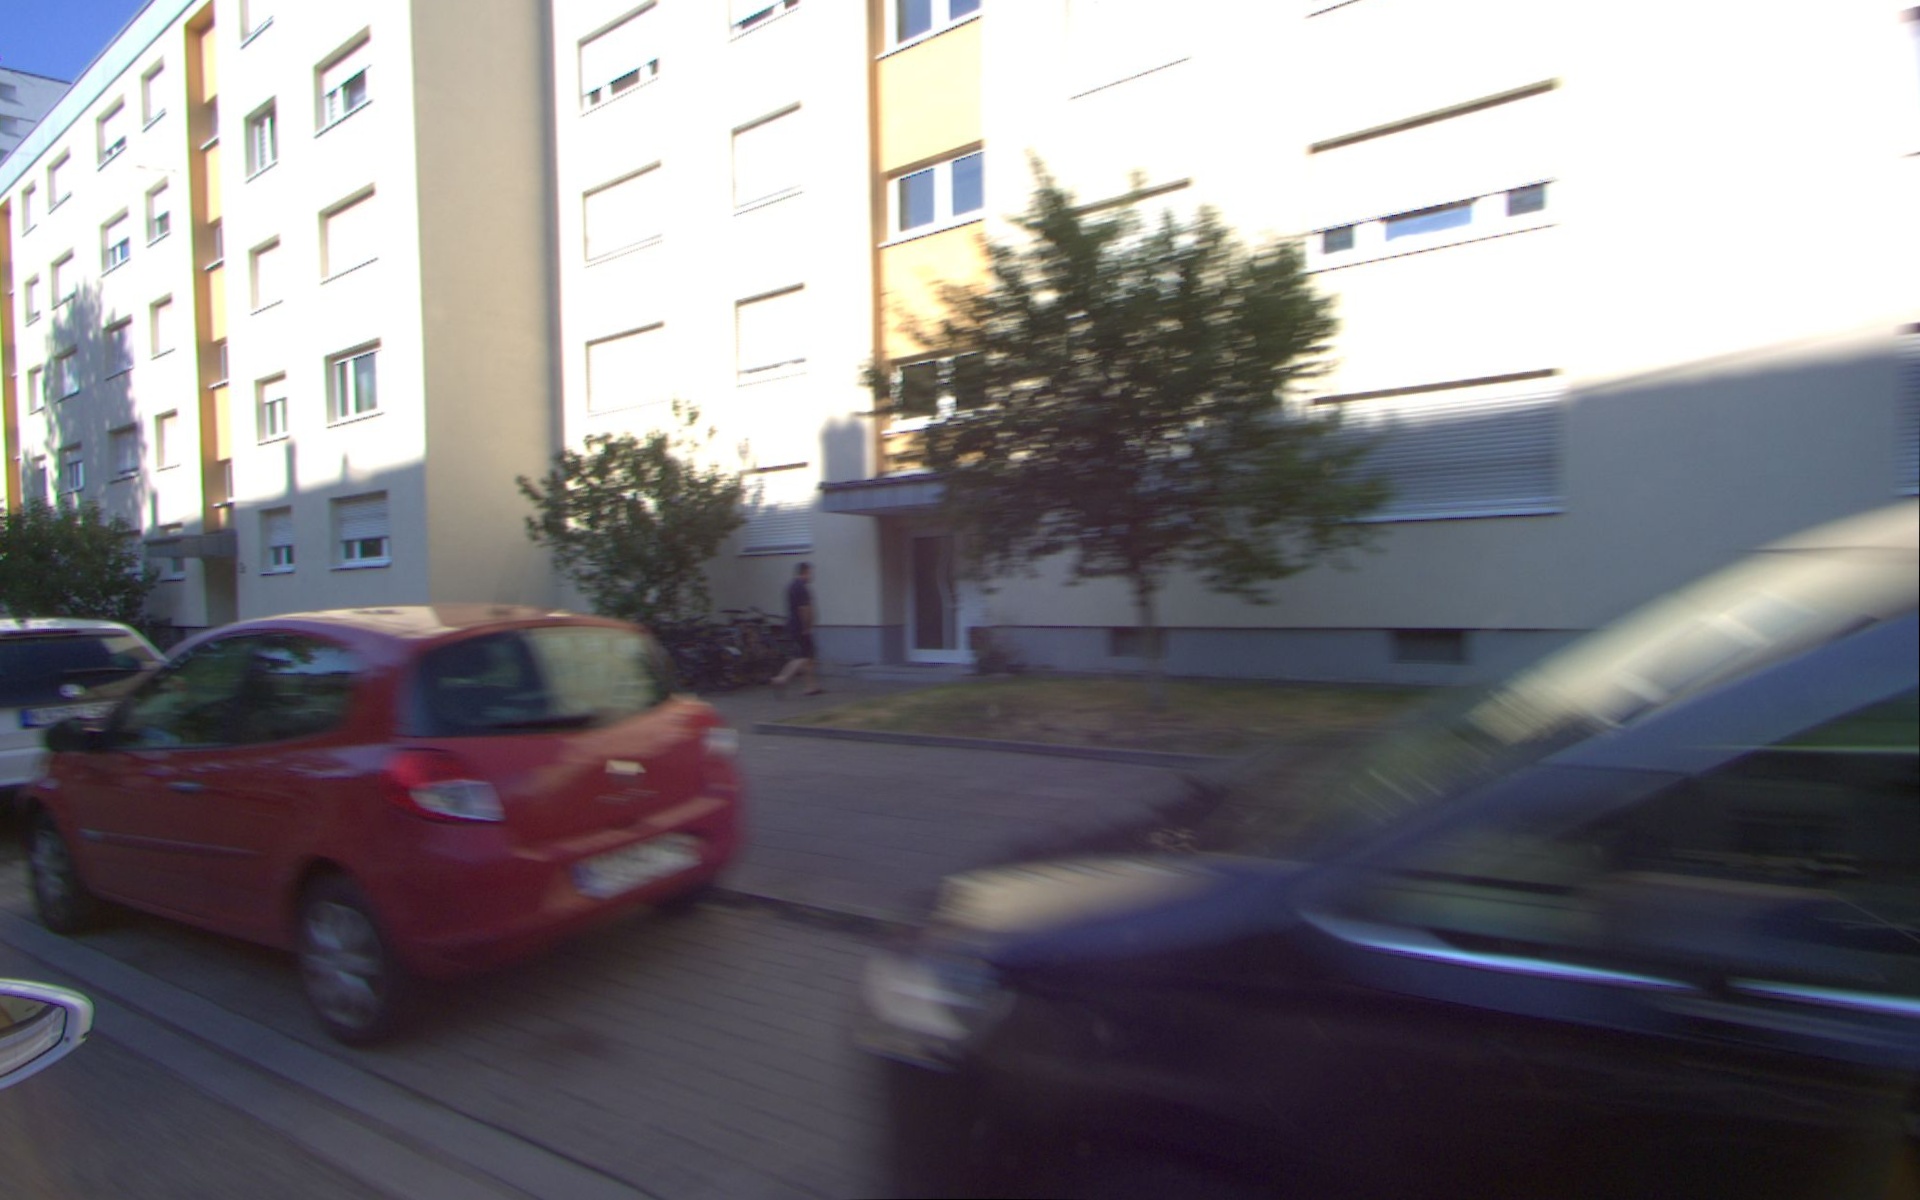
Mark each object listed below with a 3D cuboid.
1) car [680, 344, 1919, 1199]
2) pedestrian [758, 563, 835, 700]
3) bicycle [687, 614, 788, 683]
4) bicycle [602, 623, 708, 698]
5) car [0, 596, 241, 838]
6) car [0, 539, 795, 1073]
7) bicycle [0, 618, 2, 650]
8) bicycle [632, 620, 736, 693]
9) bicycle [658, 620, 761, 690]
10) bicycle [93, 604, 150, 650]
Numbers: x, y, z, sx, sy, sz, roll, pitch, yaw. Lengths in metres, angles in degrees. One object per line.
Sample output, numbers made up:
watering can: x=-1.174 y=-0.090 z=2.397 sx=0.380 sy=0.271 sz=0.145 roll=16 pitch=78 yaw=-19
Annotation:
car: x=1.896 y=0.545 z=1.468 sx=4.581 sy=1.700 sz=1.767 roll=-2 pitch=2 yaw=32
pedestrian: x=-2.062 y=0.380 z=12.710 sx=0.529 sy=1.680 sz=0.764 roll=-1 pitch=2 yaw=32
bicycle: x=-3.278 y=0.710 z=14.664 sx=1.769 sy=0.954 sz=0.436 roll=-2 pitch=-2 yaw=38
bicycle: x=-4.136 y=0.799 z=13.497 sx=1.769 sy=0.954 sz=0.436 roll=-2 pitch=-2 yaw=38
car: x=-7.490 y=0.792 z=7.705 sx=3.943 sy=1.473 sz=1.767 roll=-2 pitch=2 yaw=32
car: x=-2.895 y=0.684 z=4.881 sx=3.943 sy=1.637 sz=1.768 roll=-2 pitch=-1 yaw=32
bicycle: x=-34.068 y=1.158 z=34.778 sx=2.358 sy=1.096 sz=0.599 roll=1 pitch=2 yaw=32
bicycle: x=-3.846 y=0.771 z=13.878 sx=1.769 sy=0.954 sz=0.436 roll=-2 pitch=-2 yaw=38
bicycle: x=-3.587 y=0.777 z=14.257 sx=1.769 sy=0.954 sz=0.436 roll=-2 pitch=-2 yaw=38
bicycle: x=-21.822 y=0.700 z=26.040 sx=2.363 sy=1.129 sz=0.491 roll=-1 pitch=4 yaw=36
